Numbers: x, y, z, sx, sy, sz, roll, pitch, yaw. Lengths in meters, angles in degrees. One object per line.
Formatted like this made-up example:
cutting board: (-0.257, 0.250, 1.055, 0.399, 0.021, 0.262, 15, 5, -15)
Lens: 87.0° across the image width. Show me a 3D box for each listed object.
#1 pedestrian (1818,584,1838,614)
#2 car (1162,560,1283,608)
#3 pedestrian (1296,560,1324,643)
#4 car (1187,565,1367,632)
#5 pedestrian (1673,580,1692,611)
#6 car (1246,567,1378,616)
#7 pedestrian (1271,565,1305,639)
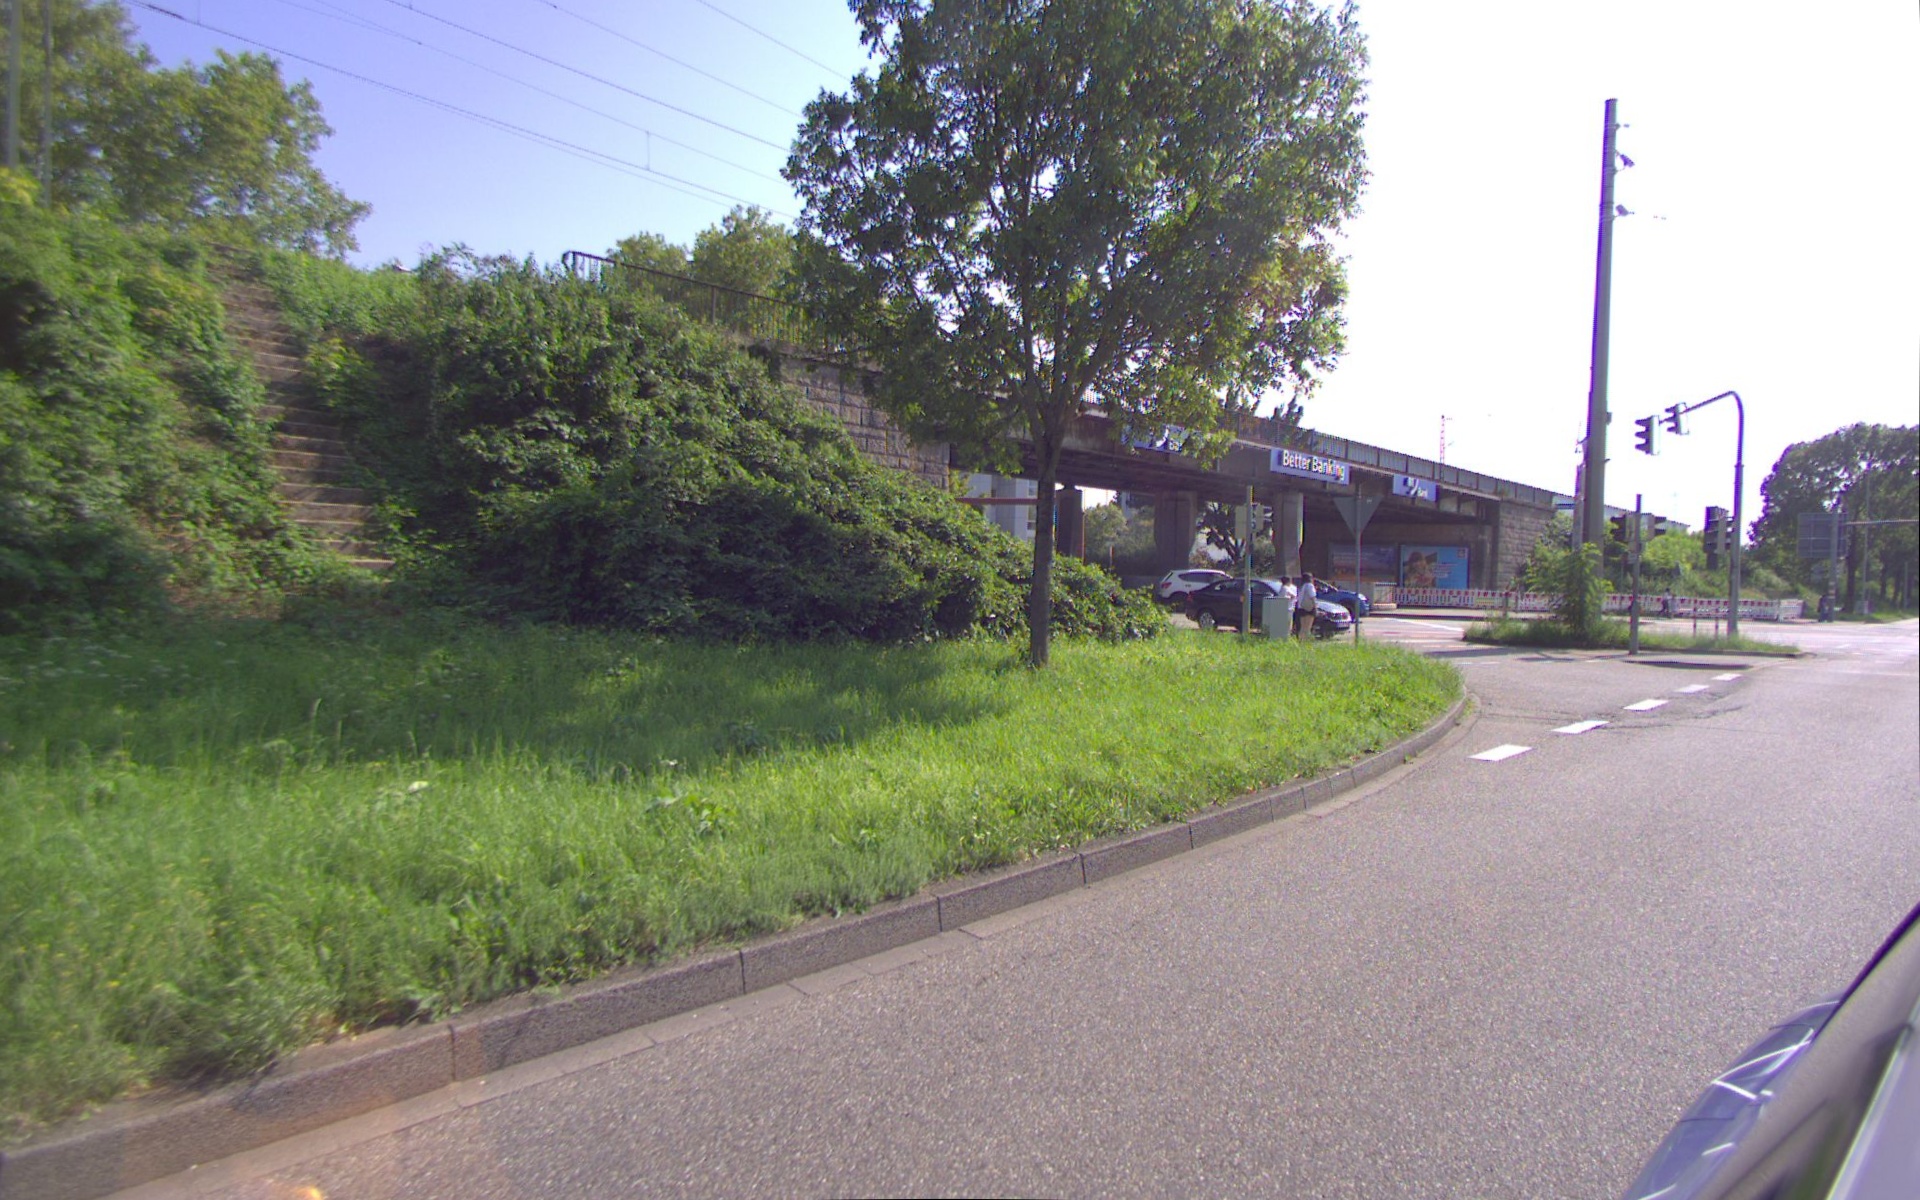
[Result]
pedestrian: (46.921, -0.048, 54.687, 0.746, 1.593, 0.649, 0, 3, -42)
car: (9.632, -0.622, 37.272, 4.156, 1.638, 2.002, 1, 2, 15)
pedestrian: (7.307, 0.029, 21.126, 0.486, 1.702, 0.568, 1, 1, 17)
car: (8.107, -0.101, 26.251, 1.835, 1.552, 4.195, 0, 2, -35)
pedestrian: (36.876, -0.231, 51.671, 0.625, 1.594, 0.489, 1, 1, 11)
car: (11.691, -0.308, 33.874, 3.939, 1.470, 1.612, 2, 2, 13)
pedestrian: (7.110, 0.038, 21.957, 0.562, 1.586, 0.535, 0, 1, 6)
